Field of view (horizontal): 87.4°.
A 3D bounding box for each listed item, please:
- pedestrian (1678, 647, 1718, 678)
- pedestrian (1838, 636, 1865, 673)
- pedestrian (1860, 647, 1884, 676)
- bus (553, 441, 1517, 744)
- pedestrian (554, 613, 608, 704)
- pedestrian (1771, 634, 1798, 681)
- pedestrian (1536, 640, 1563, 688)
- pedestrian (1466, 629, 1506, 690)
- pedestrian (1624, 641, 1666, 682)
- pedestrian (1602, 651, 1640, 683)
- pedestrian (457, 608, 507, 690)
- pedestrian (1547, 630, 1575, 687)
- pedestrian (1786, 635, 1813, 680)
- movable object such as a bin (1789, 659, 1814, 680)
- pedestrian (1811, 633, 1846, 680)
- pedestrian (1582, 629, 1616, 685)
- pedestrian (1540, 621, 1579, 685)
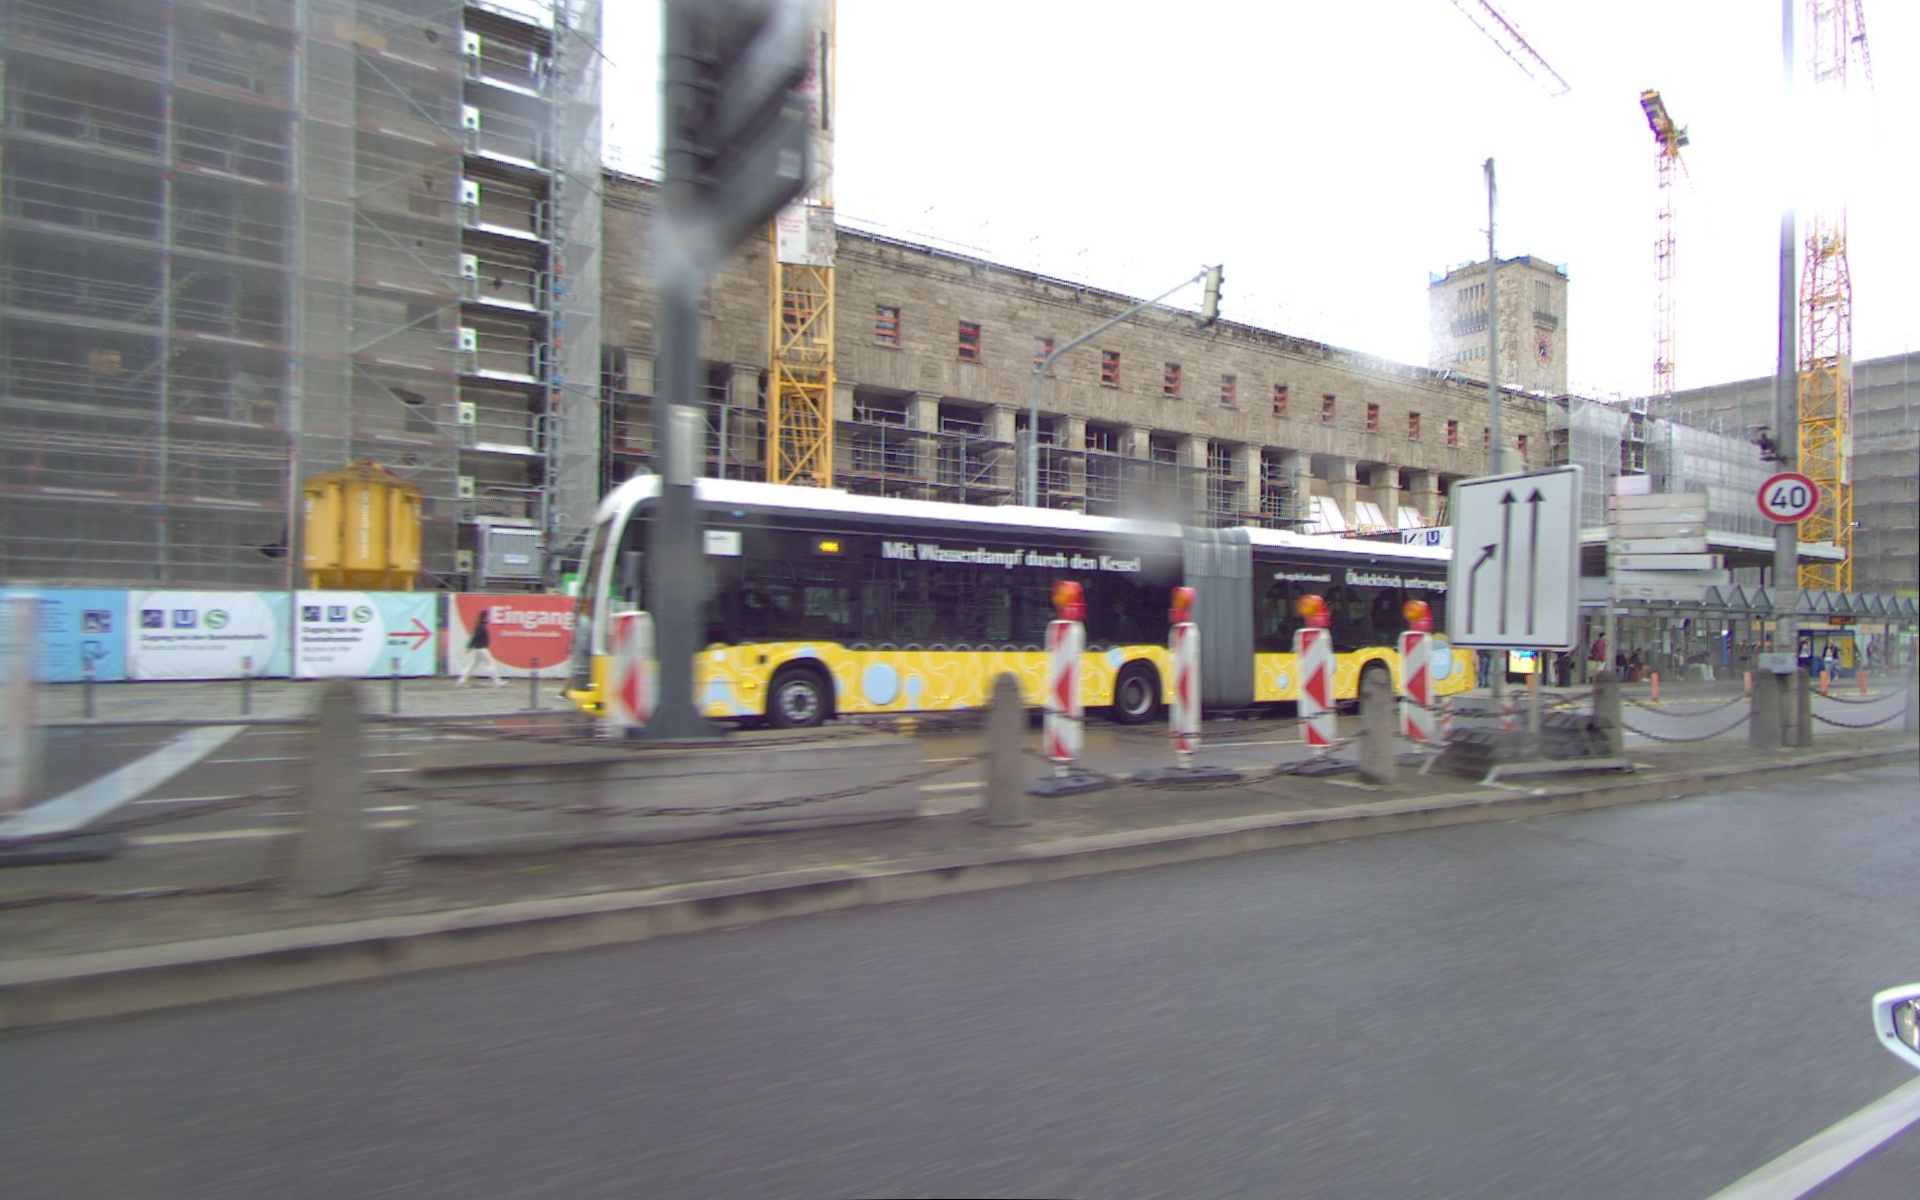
[{"bbox_3d":[29.413,2.482,40.037,1.043,1.173,0.944,2,-1,-32],"label":"pedestrian"},{"bbox_3d":[45.799,2.811,51.608,0.689,1.865,0.745,1,0,-12],"label":"pedestrian"},{"bbox_3d":[44.789,3.017,49.332,0.797,1.343,0.695,2,-1,-33],"label":"pedestrian"},{"bbox_3d":[3.020,0.249,17.978,18.851,3.624,2.896,2,-2,-30],"label":"bus"},{"bbox_3d":[-7.002,1.067,18.545,0.860,1.618,0.753,2,-1,-22],"label":"pedestrian"},{"bbox_3d":[33.755,2.338,41.127,0.664,1.872,0.558,1,-1,14],"label":"pedestrian"},{"bbox_3d":[20.649,2.241,35.196,0.799,1.652,0.551,2,-1,-40],"label":"pedestrian"},{"bbox_3d":[15.988,1.811,30.547,0.782,1.814,0.698,2,0,-20],"label":"pedestrian"},{"bbox_3d":[25.501,2.269,37.385,0.822,1.451,1.049,2,-1,-33],"label":"pedestrian"},{"bbox_3d":[23.849,2.420,36.254,0.916,1.107,0.839,2,-1,-33],"label":"pedestrian"},{"bbox_3d":[-10.036,1.029,21.133,0.860,1.686,0.753,2,-1,-22],"label":"pedestrian"},{"bbox_3d":[19.716,1.909,32.954,0.799,1.814,0.551,2,-1,-40],"label":"pedestrian"},{"bbox_3d":[35.406,2.411,42.376,0.769,1.814,0.671,1,0,31],"label":"pedestrian"},{"bbox_3d":[34.393,2.835,41.067,0.621,0.800,0.512,1,-2,13],"label":"movable object such as a bin"},{"bbox_3d":[34.699,2.244,40.127,0.849,1.814,0.773,2,0,-25],"label":"pedestrian"},{"bbox_3d":[21.350,1.906,33.571,0.741,1.814,0.718,2,-1,-37],"label":"pedestrian"},{"bbox_3d":[18.977,1.677,31.804,0.814,1.985,0.754,2,-1,-34],"label":"pedestrian"}]
